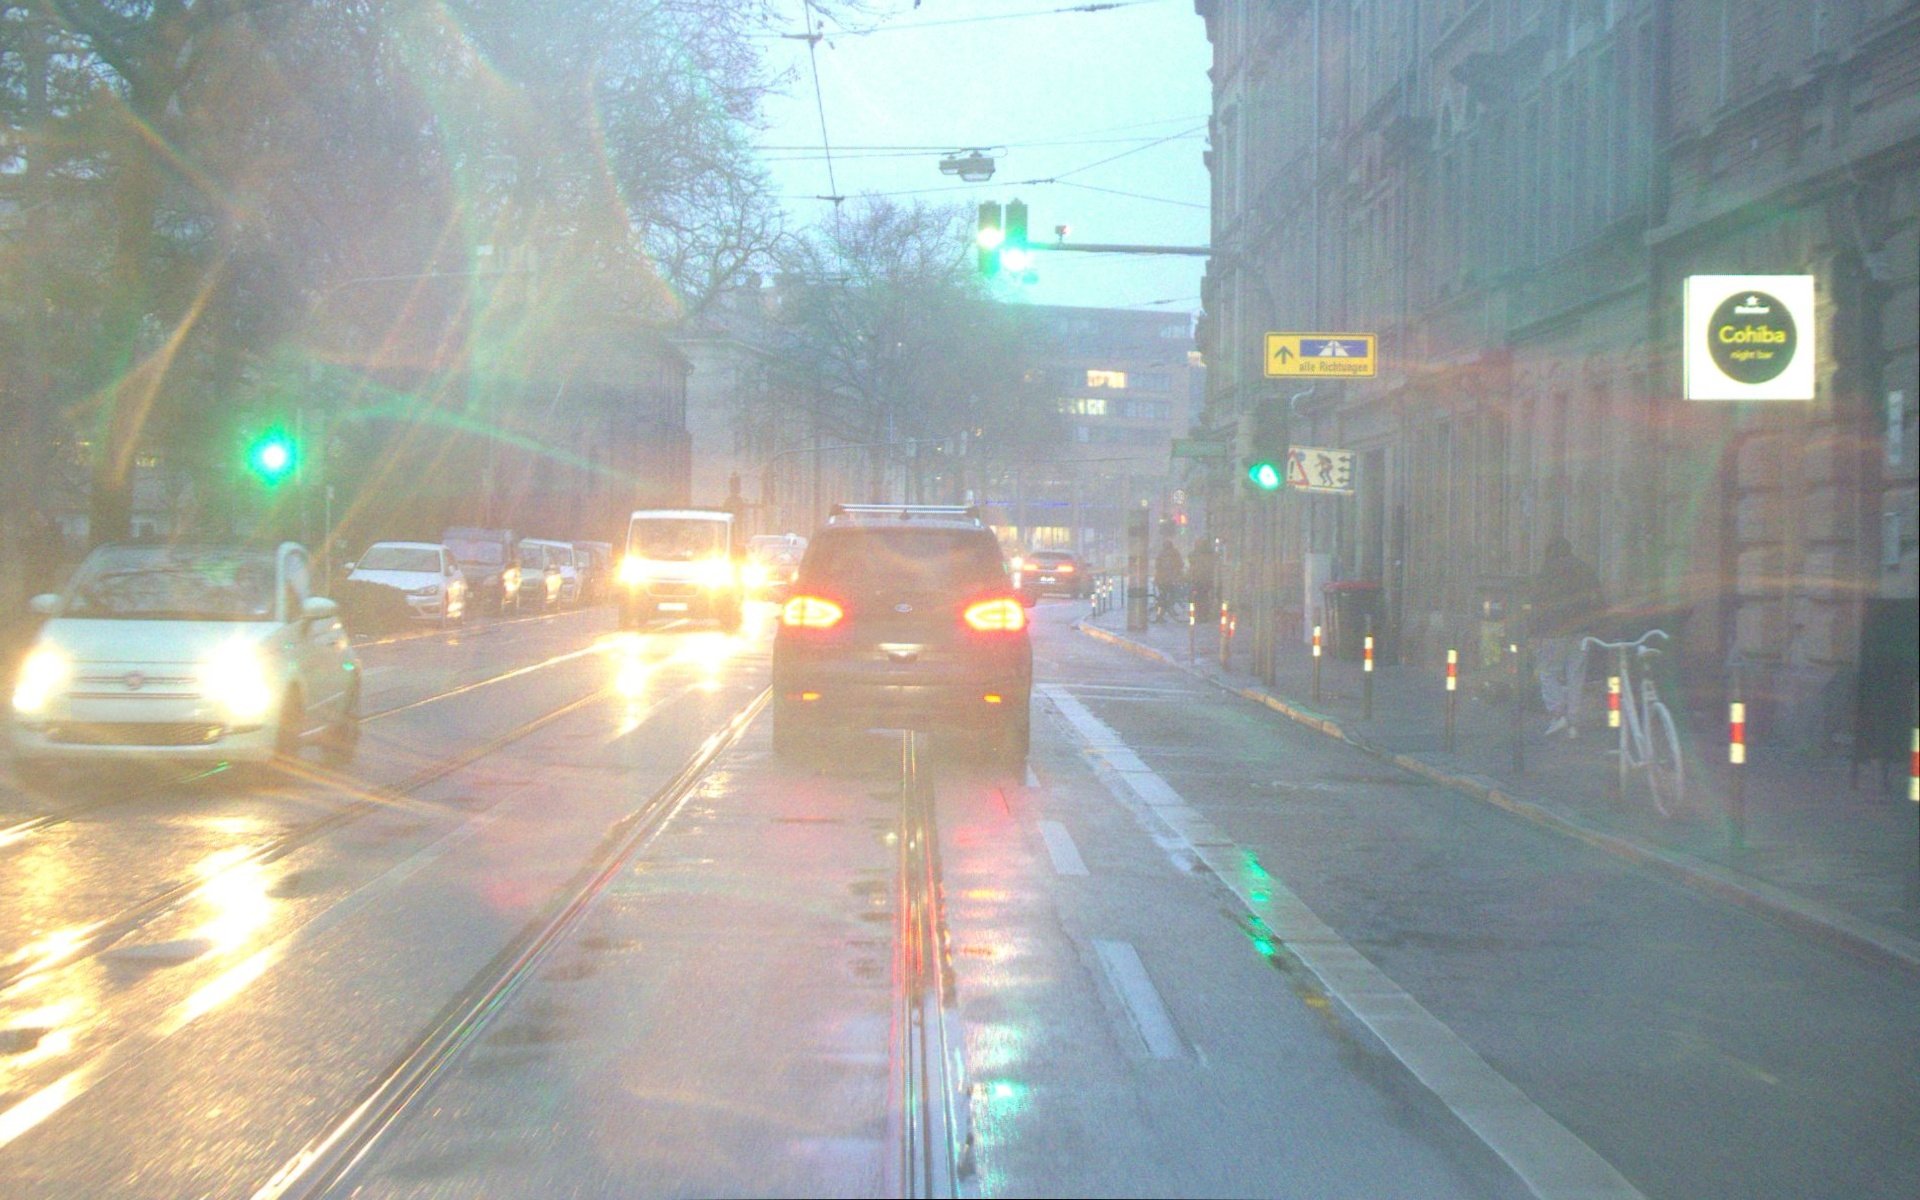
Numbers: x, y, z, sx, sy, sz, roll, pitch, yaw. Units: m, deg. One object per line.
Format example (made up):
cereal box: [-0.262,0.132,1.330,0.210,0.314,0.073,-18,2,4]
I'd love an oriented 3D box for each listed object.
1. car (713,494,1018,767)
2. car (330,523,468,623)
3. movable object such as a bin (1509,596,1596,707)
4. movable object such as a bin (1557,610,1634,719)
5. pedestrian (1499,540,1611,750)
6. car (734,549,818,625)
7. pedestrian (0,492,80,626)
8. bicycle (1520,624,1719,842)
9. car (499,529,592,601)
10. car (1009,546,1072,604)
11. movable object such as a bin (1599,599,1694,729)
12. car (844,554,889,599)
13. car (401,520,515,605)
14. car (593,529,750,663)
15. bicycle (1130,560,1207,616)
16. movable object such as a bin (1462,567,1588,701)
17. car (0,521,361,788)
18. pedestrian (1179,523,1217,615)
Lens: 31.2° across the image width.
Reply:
car: [-0.617,0.183,25.556,1.993,1.835,4.000,1,1,2]
car: [-9.650,-0.464,59.421,1.983,1.610,4.430,2,0,-5]
movable object such as a bin: [5.683,0.489,32.949,0.765,1.035,0.599,1,1,15]
movable object such as a bin: [5.526,0.560,29.910,0.488,0.925,0.425,0,1,-27]
pedestrian: [4.953,0.363,28.663,0.835,1.695,0.953,2,0,8]
car: [-5.129,-0.371,96.243,1.993,2.007,4.000,2,0,1]
pedestrian: [-12.752,-0.563,47.543,0.820,1.809,1.009,2,0,2]
bicycle: [3.814,0.741,20.046,0.684,1.152,2.188,2,0,-1]
car: [-9.798,-0.837,81.490,1.983,1.610,4.430,2,0,-5]
car: [2.666,-0.835,112.962,1.993,1.835,4.000,1,1,2]
movable object such as a bin: [5.834,0.535,29.220,0.611,1.077,0.491,0,1,-29]
car: [-4.360,-1.094,160.974,1.993,2.007,4.000,2,0,-1]
car: [-10.157,-0.758,69.799,1.983,1.610,4.430,2,0,-5]
car: [-5.262,-0.092,63.475,2.446,2.339,5.845,0,0,0]
bicycle: [4.447,-0.263,73.401,0.792,1.140,2.244,1,0,-20]
movable object such as a bin: [5.583,0.327,34.022,0.887,1.284,1.262,0,1,-7]
car: [-4.732,0.273,21.028,1.530,1.476,3.561,1,1,-1]
pedestrian: [5.093,-0.661,73.609,0.715,1.946,0.657,2,0,0]
